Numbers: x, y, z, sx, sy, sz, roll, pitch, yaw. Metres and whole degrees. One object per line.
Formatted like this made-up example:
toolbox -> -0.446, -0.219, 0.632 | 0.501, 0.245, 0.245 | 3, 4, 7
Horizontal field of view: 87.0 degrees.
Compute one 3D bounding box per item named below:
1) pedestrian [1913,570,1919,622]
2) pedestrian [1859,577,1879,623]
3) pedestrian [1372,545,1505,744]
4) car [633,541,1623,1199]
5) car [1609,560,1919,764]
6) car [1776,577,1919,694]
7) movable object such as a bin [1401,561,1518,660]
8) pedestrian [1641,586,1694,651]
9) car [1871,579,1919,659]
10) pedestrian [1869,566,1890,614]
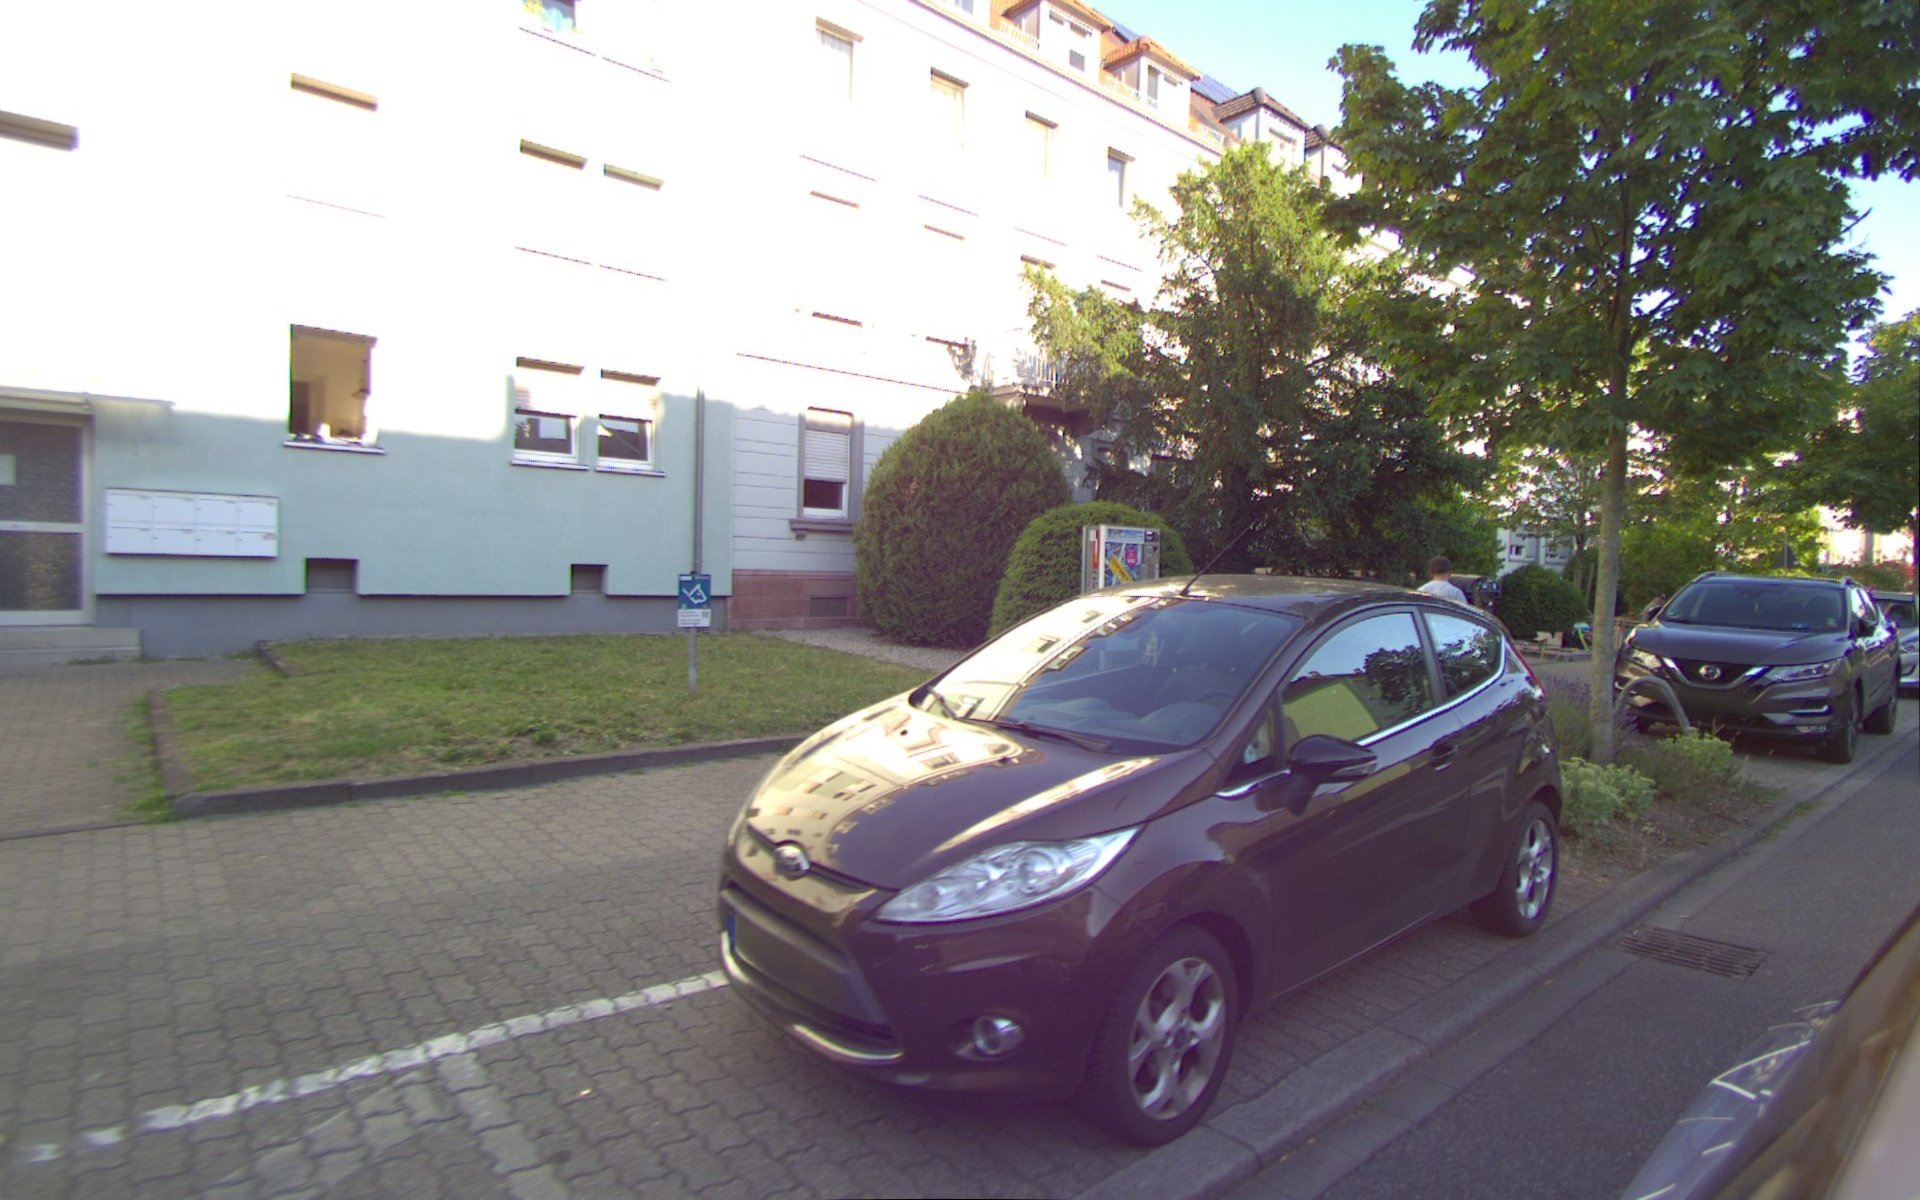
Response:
pedestrian -> 34.763, -0.127, 36.361 | 0.749, 1.872, 0.550 | 0, 2, -33
pedestrian -> 34.486, -0.023, 38.394 | 0.518, 1.718, 0.511 | 0, 2, -45
pedestrian -> 4.394, 0.368, 9.314 | 0.792, 1.721, 0.791 | 0, 2, -36
car -> 0.956, 0.596, 3.906 | 3.889, 1.484, 1.616 | 0, 4, -41
car -> 8.176, 0.466, 10.127 | 4.024, 1.621, 1.722 | 0, 3, -41
car -> 14.088, 0.459, 15.510 | 4.318, 1.512, 1.721 | 0, 3, -42
movable object such as a bin -> 8.324, 0.147, 16.902 | 1.116, 1.510, 1.273 | 1, 4, -30
pedestrian -> 14.234, 0.361, 20.359 | 0.776, 1.250, 0.674 | 0, 2, -40
car -> 21.611, 0.406, 22.005 | 4.733, 1.600, 1.880 | 0, 4, -39
pedestrian -> 33.859, -0.373, 37.260 | 0.518, 1.718, 0.511 | 0, 2, -45
